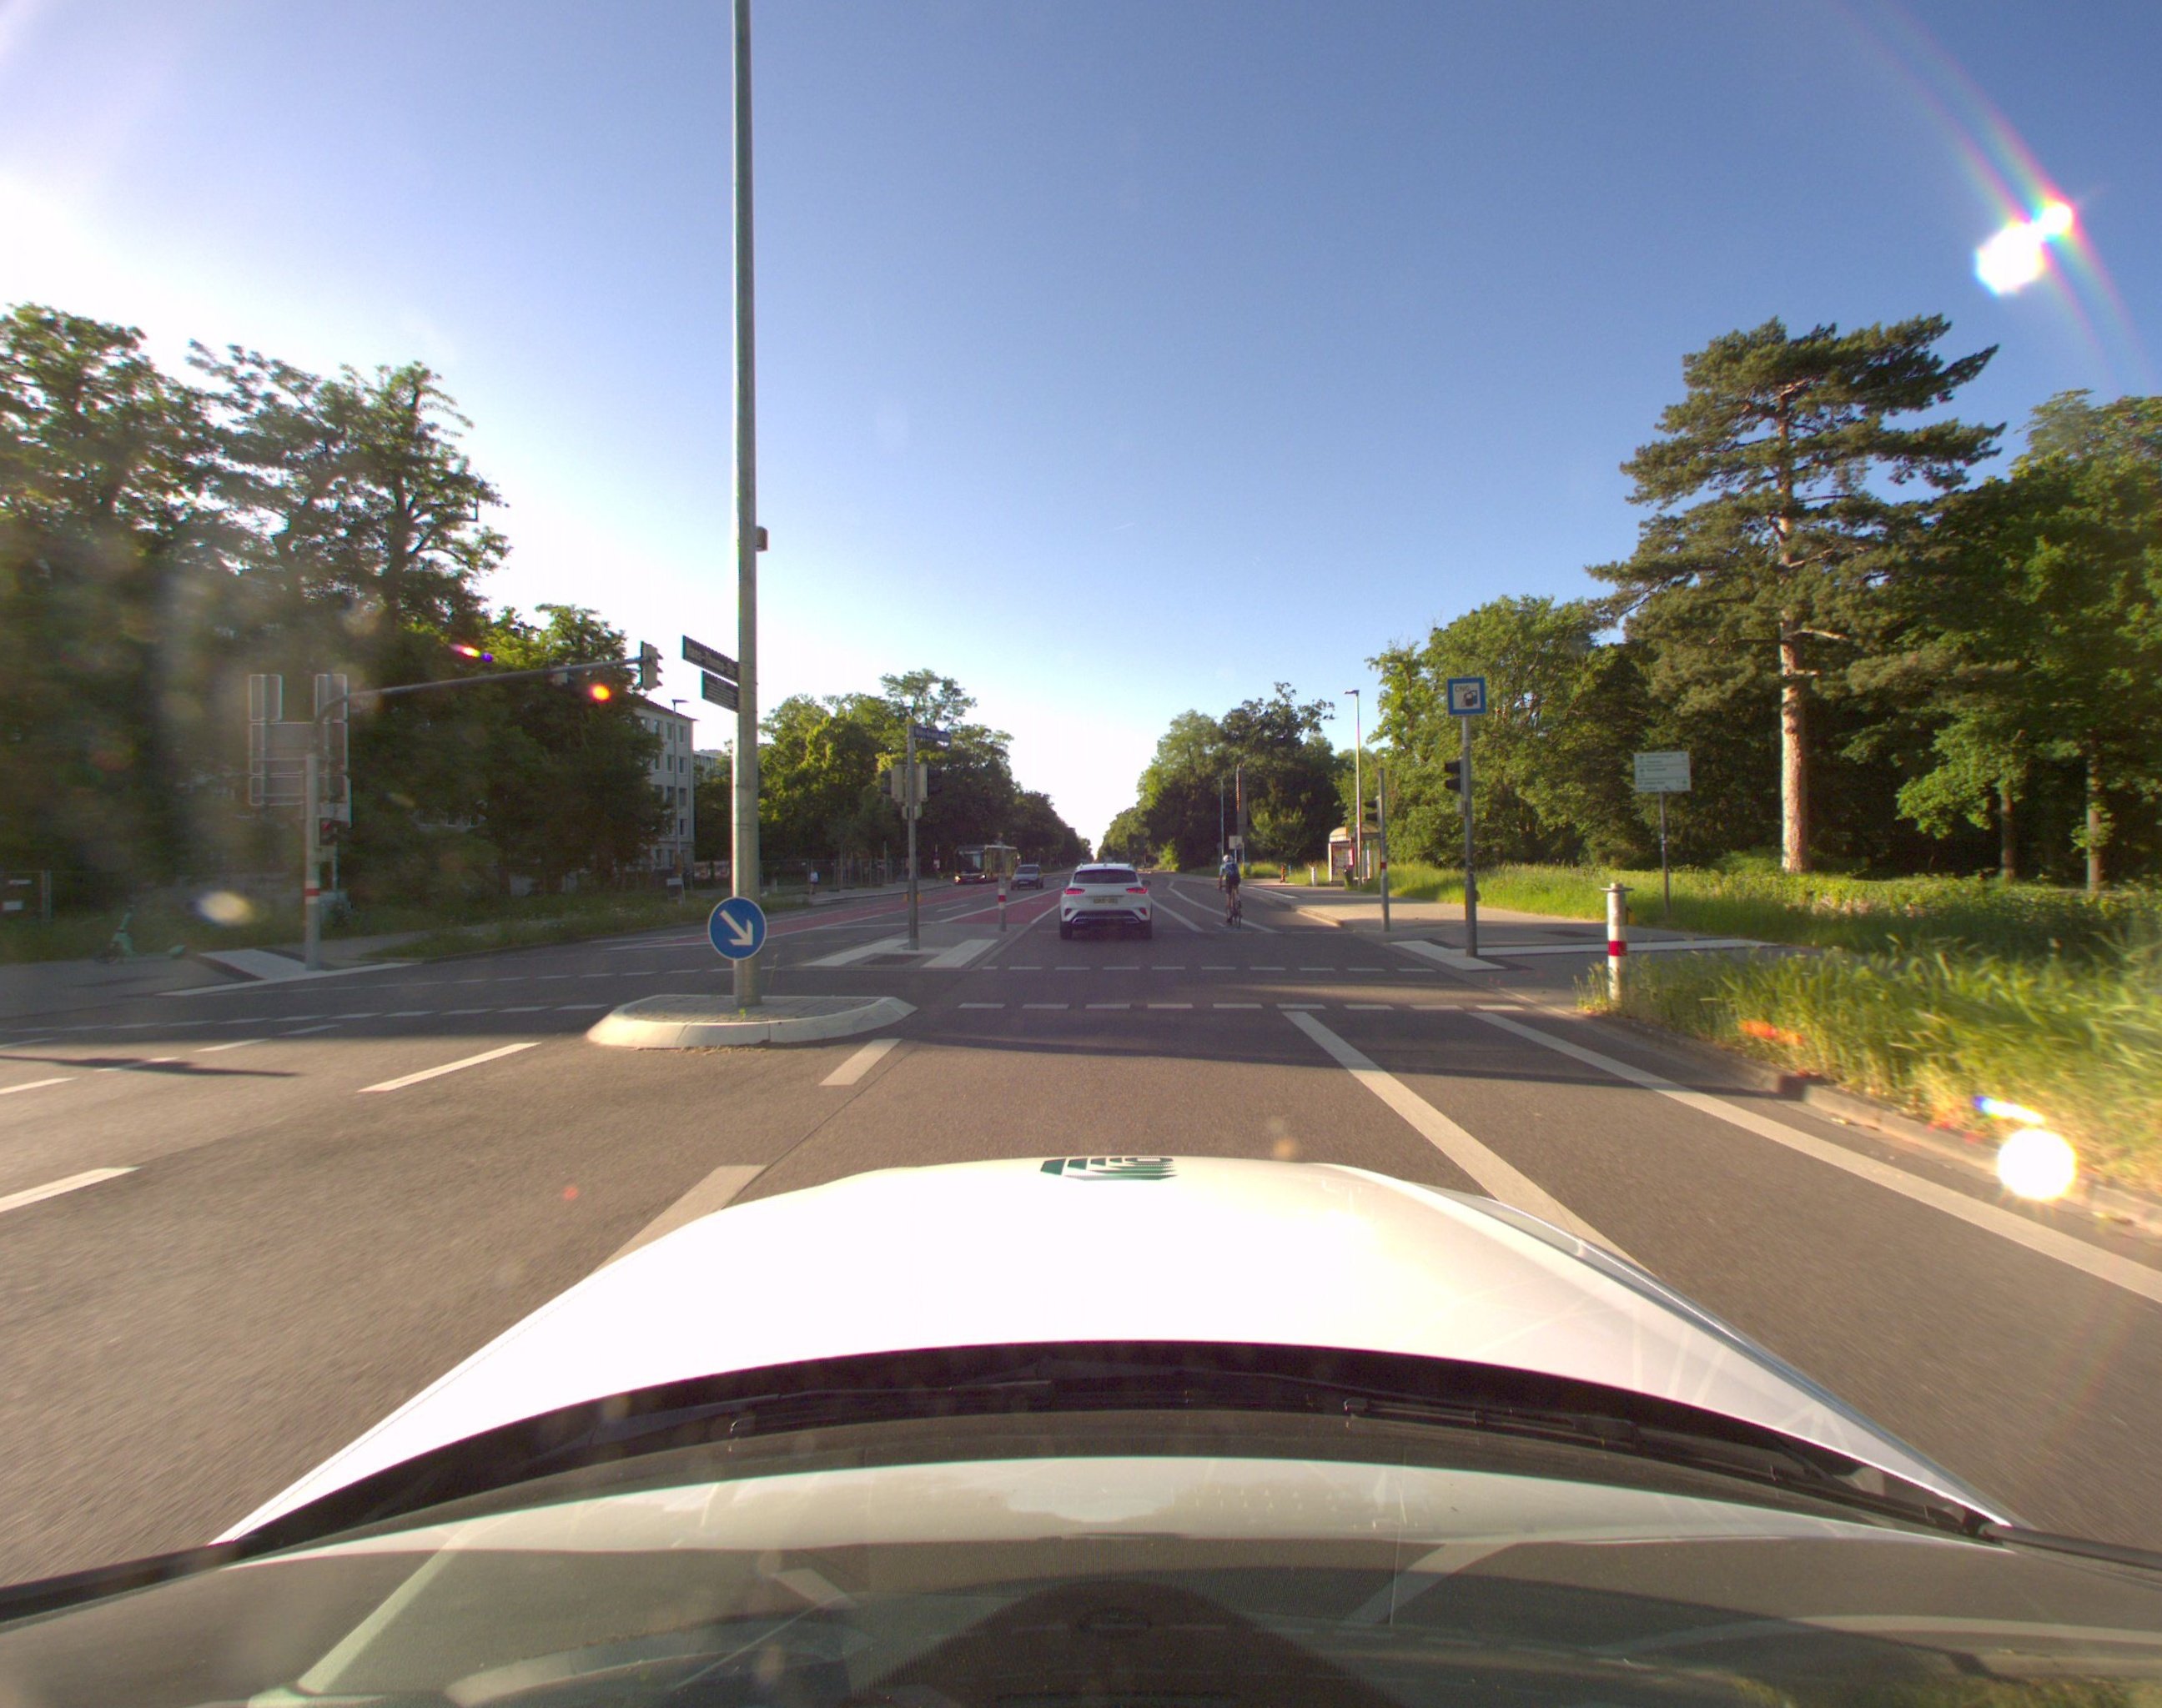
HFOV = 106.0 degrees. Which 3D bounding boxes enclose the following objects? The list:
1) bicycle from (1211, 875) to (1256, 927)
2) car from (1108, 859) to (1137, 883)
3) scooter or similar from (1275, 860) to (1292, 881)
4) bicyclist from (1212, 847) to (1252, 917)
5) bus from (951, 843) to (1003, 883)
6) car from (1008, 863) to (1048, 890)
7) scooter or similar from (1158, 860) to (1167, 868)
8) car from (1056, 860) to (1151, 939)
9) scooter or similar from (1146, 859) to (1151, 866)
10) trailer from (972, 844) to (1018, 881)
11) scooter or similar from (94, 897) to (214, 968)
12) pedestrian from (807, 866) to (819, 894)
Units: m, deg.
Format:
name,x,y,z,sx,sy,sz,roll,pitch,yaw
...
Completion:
name,x,y,z,sx,sy,sz,roll,pitch,yaw
bicycle,3.519,1.057,18.975,0.886,1.095,2.140,0,0,7
car,2.648,1.072,51.915,1.668,1.417,3.578,-2,0,5
scooter or similar,12.286,1.008,49.301,0.715,1.247,1.335,-2,-1,25
bicyclist,3.481,0.628,18.787,0.855,1.567,0.883,0,0,7
bus,-8.799,0.737,69.976,2.828,3.197,8.607,1,0,3
car,-3.069,1.292,47.792,1.703,1.421,4.558,-2,-1,4
scooter or similar,13.313,1.662,133.195,1.549,1.250,0.528,-1,-1,-42
car,0.375,0.876,17.243,1.757,1.459,3.814,-1,-1,-2
scooter or similar,15.014,1.920,180.757,0.682,1.423,1.674,-1,-1,-12
trailer,-8.194,0.803,78.953,2.842,3.355,9.372,1,-1,4
scooter or similar,-18.902,1.568,16.638,0.686,1.294,1.505,-2,-1,31
pedestrian,-15.095,1.470,45.927,0.450,1.534,0.571,-1,-1,-2
